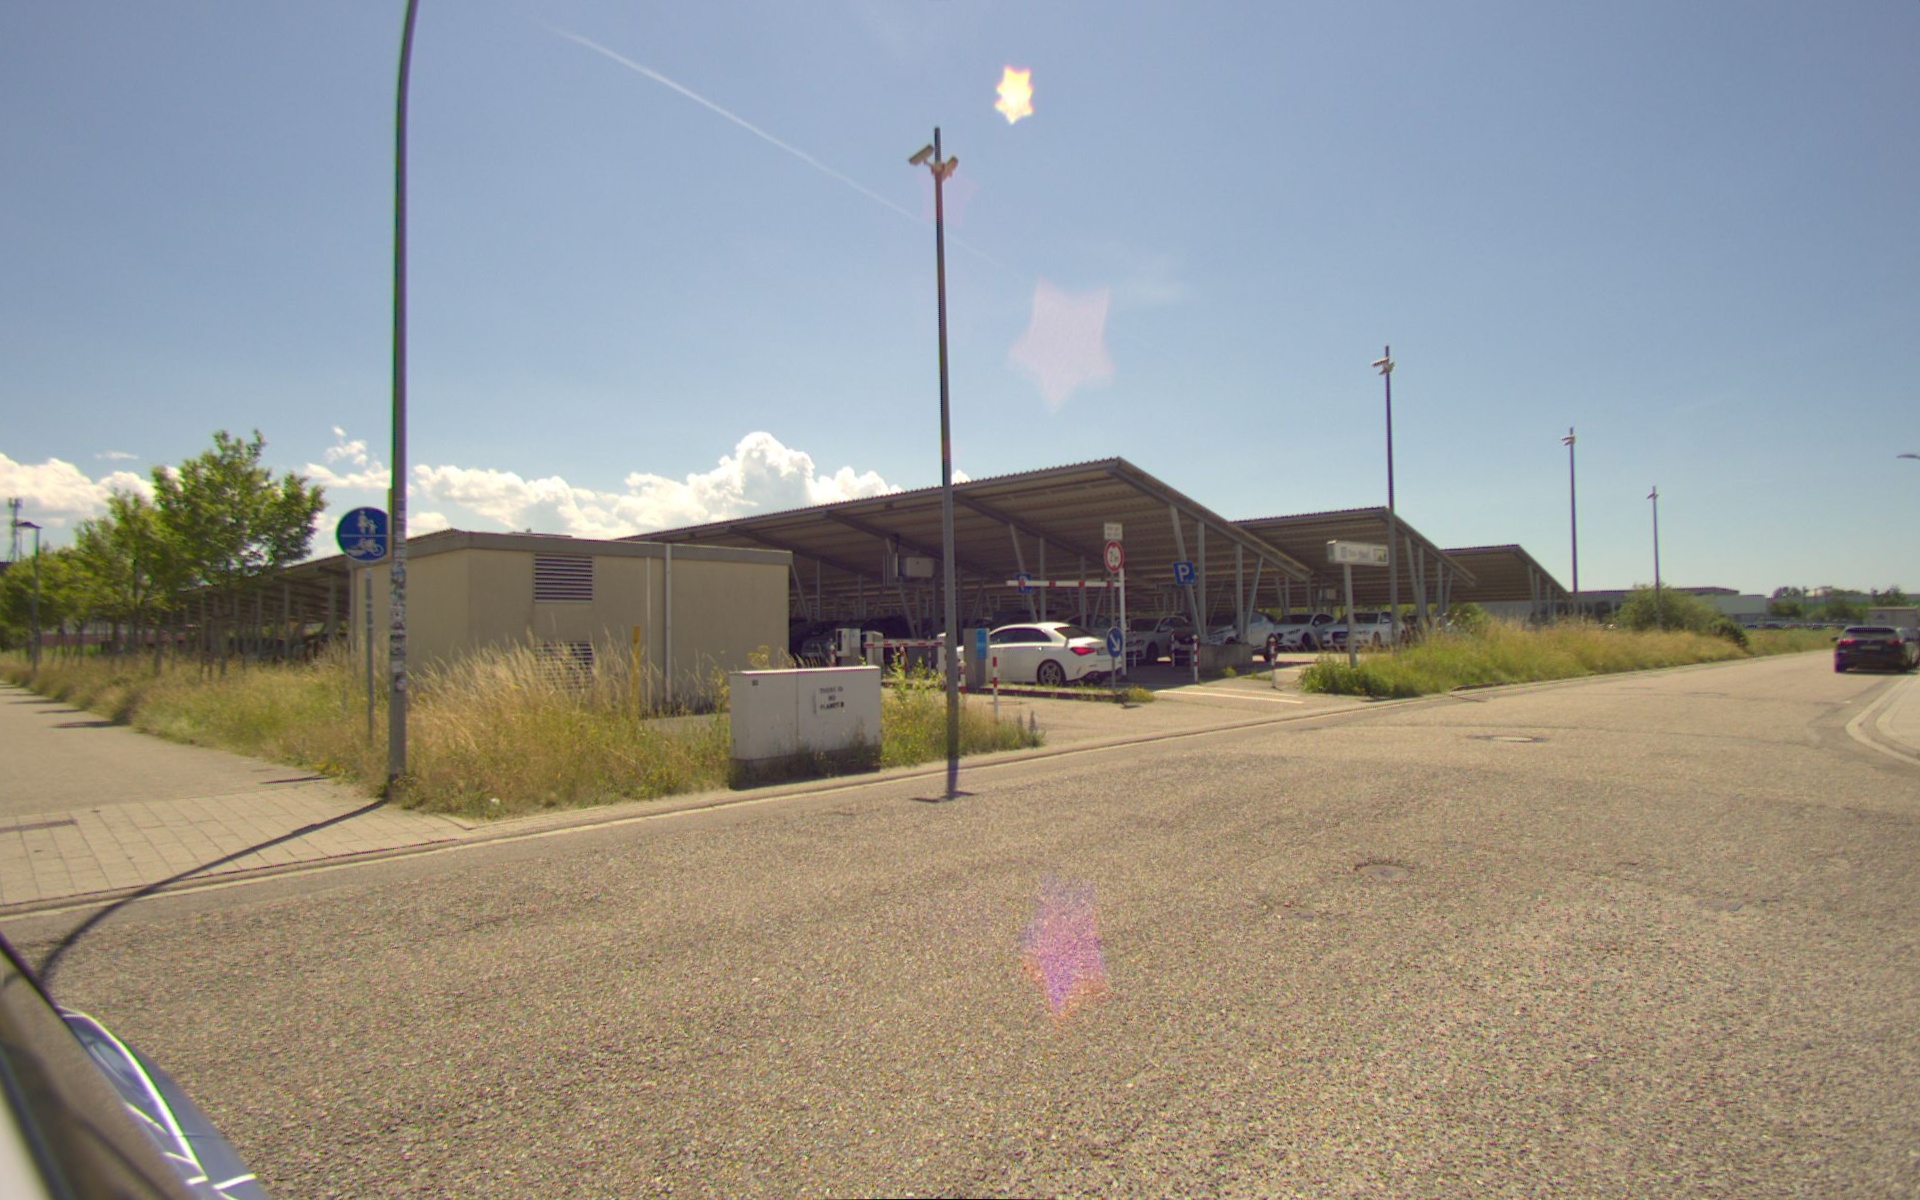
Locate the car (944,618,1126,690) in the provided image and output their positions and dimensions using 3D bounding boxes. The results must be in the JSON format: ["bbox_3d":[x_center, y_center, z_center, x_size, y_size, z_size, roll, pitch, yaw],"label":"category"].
[{"bbox_3d":[1.593,1.189,22.409,3.775,1.447,1.699,-3,-3,42],"label":"car"}]

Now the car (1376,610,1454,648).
[{"bbox_3d":[18.132,1.163,40.251,1.723,1.447,3.723,-3,-3,42],"label":"car"}]

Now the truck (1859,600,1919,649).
[{"bbox_3d":[41.168,1.108,44.621,2.166,2.029,5.025,-3,-3,42],"label":"truck"}]

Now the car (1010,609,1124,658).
[{"bbox_3d":[3.436,1.068,32.053,1.723,1.447,3.723,-3,-3,42],"label":"car"}]

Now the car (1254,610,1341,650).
[{"bbox_3d":[12.807,1.144,38.321,1.723,1.447,3.723,-3,-3,42],"label":"car"}]

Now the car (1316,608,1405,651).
[{"bbox_3d":[14.335,1.075,36.123,1.723,1.447,3.723,-3,-3,42],"label":"car"}]

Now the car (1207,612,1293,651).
[{"bbox_3d":[11.431,1.232,39.777,1.723,1.447,3.723,-3,-3,42],"label":"car"}]

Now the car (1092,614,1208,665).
[{"bbox_3d":[5.791,1.193,30.647,1.723,1.447,3.723,-3,-3,42],"label":"car"}]

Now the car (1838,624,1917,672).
[{"bbox_3d":[28.669,1.467,31.623,1.697,1.388,3.943,-3,-3,43],"label":"car"}]

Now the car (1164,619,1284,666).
[{"bbox_3d":[7.509,1.188,28.585,1.723,1.237,3.723,-3,-3,42],"label":"car"}]
